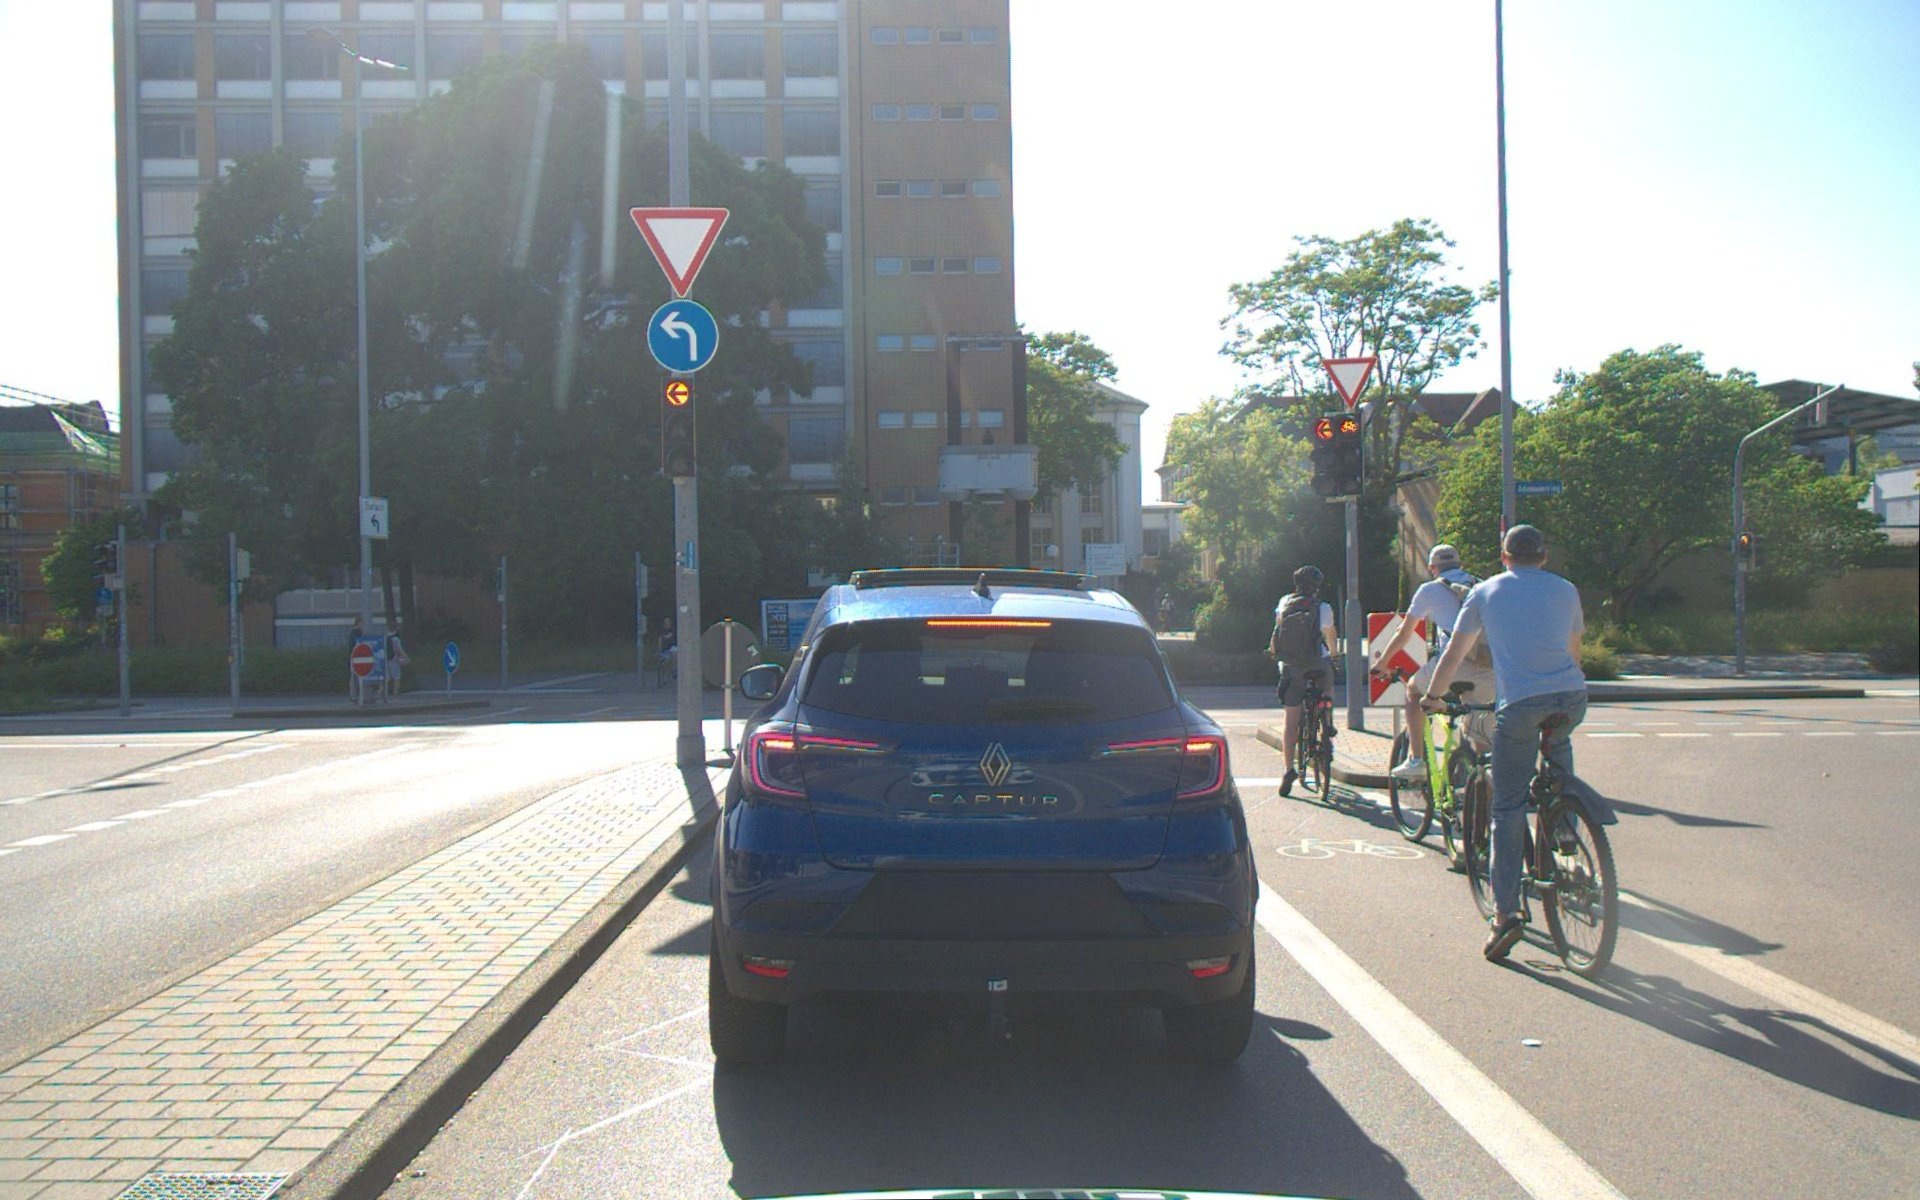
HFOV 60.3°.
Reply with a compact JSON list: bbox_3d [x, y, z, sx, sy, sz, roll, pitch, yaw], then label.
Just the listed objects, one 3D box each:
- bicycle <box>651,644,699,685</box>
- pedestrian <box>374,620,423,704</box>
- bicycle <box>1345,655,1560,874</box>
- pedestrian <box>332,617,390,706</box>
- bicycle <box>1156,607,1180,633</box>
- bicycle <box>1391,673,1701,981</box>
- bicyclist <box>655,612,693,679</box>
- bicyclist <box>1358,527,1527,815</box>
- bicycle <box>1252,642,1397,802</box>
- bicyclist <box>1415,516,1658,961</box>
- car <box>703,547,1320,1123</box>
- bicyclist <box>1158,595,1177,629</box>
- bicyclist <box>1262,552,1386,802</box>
[{"bbox_3d":[-7.521,1.699,43.767,0.739,1.002,2.095,-1,0,5],"label":"bicycle"},{"bbox_3d":[-12.064,1.322,35.561,0.666,1.761,0.761,-1,0,13],"label":"pedestrian"},{"bbox_3d":[2.859,0.911,9.805,0.675,1.108,1.922,0,0,-1],"label":"bicycle"},{"bbox_3d":[-13.030,1.336,35.995,0.796,1.895,0.910,-1,0,13],"label":"pedestrian"},{"bbox_3d":[9.316,0.893,74.259,0.680,1.160,2.440,-1,0,-2],"label":"bicycle"},{"bbox_3d":[2.523,0.921,7.375,0.675,1.108,1.922,0,0,-1],"label":"bicycle"},{"bbox_3d":[-7.540,1.192,43.664,0.739,1.746,0.999,-1,0,5],"label":"bicyclist"},{"bbox_3d":[2.857,0.399,9.890,0.664,1.622,1.142,0,0,-1],"label":"bicyclist"},{"bbox_3d":[2.795,0.902,12.873,0.675,1.108,1.922,0,0,-1],"label":"bicycle"},{"bbox_3d":[2.527,0.569,7.370,0.669,1.822,1.142,0,0,-1],"label":"bicyclist"},{"bbox_3d":[0.065,0.664,6.642,1.753,1.613,3.912,0,0,-3],"label":"car"},{"bbox_3d":[9.314,0.532,74.263,0.680,1.507,0.717,-1,0,-2],"label":"bicyclist"},{"bbox_3d":[2.759,0.562,12.630,0.685,1.822,1.142,0,0,-1],"label":"bicyclist"}]
